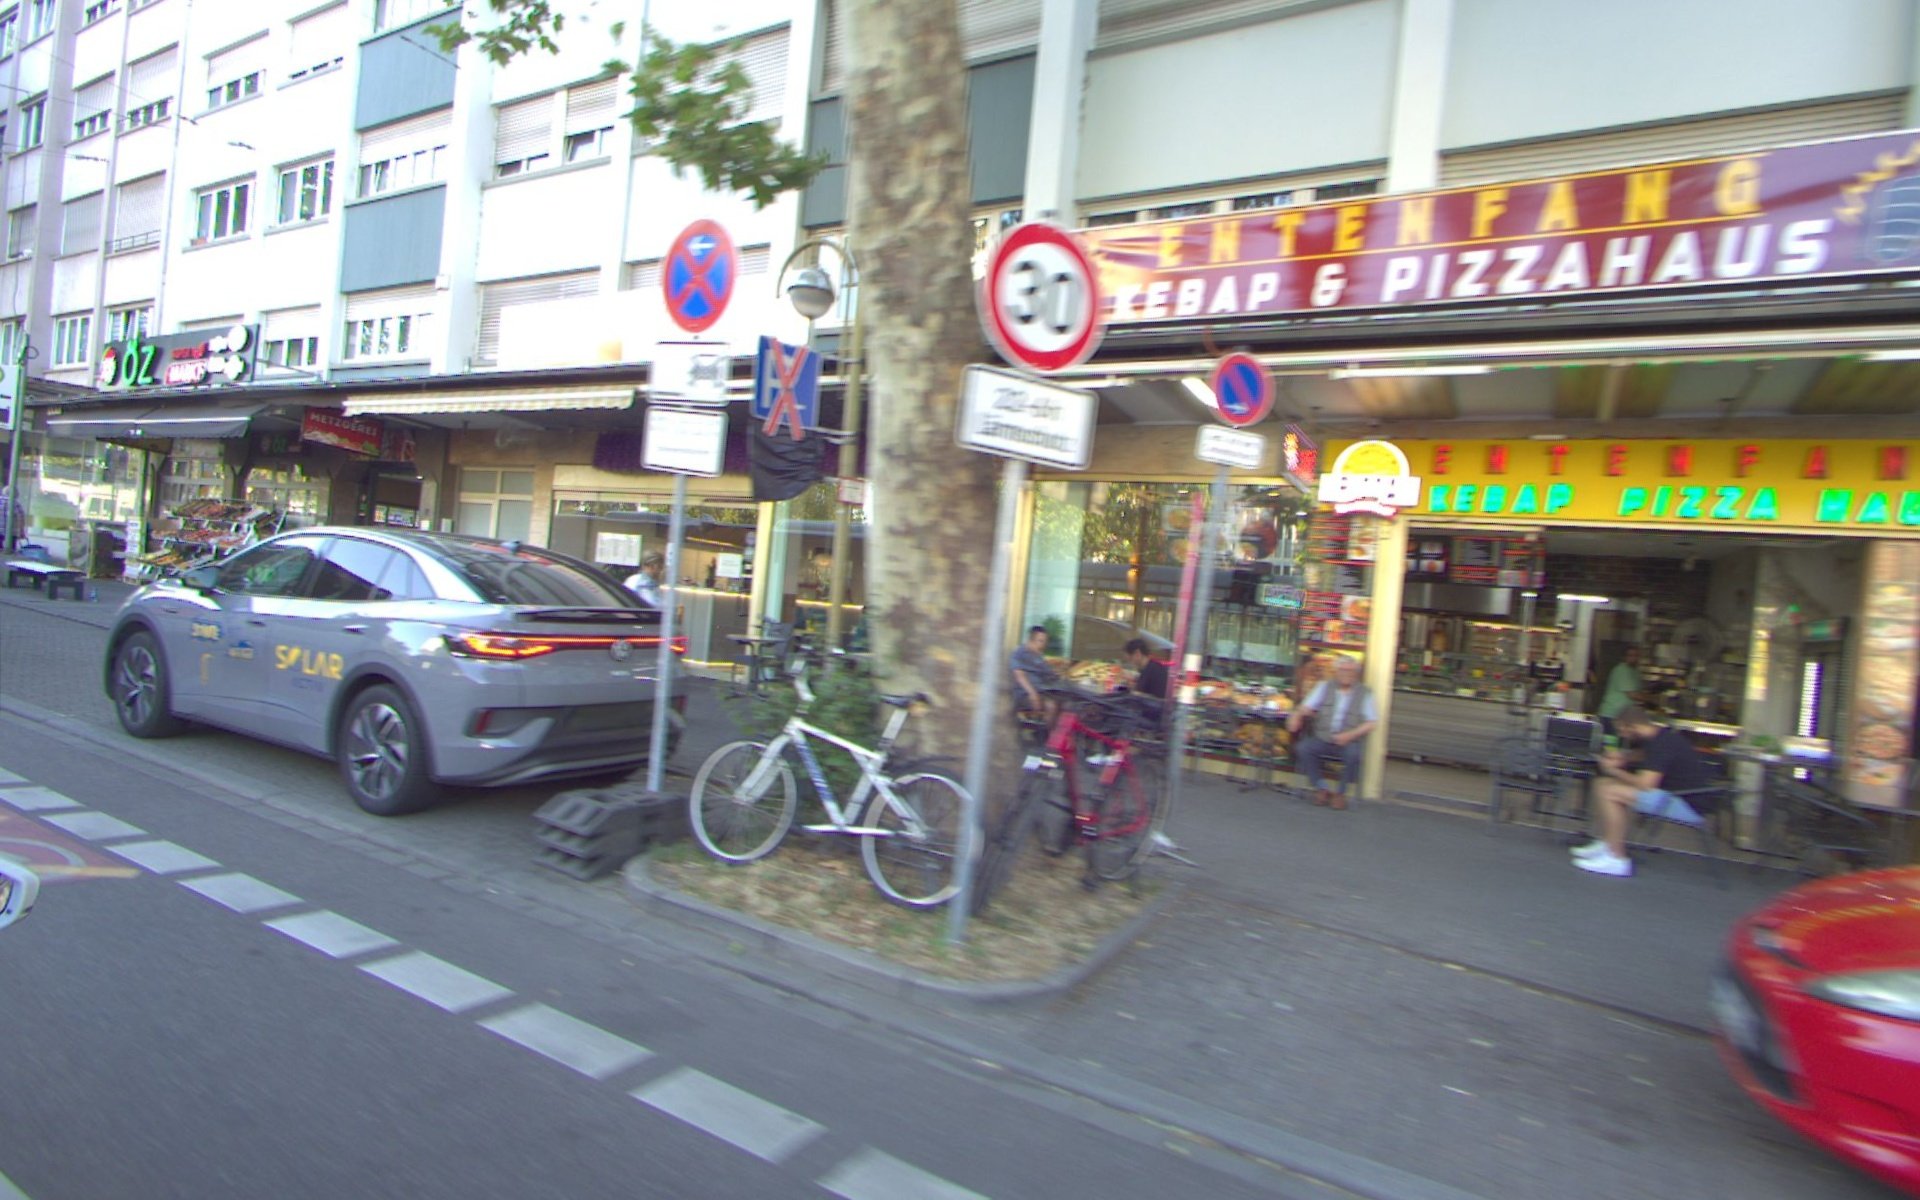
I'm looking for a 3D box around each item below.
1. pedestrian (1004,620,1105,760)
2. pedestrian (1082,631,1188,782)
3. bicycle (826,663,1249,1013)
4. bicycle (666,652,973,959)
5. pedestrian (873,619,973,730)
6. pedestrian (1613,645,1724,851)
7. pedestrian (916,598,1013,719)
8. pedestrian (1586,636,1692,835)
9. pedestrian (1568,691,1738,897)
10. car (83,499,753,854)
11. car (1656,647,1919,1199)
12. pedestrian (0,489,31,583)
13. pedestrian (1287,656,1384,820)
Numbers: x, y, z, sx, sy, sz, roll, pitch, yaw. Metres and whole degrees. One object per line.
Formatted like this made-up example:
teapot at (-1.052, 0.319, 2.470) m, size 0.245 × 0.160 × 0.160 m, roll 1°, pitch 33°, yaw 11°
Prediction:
pedestrian at (0.928, 0.869, 9.887) m, size 0.680 × 1.261 × 0.557 m, roll 7°, pitch 2°, yaw 39°
pedestrian at (1.611, 0.952, 9.250) m, size 0.680 × 1.261 × 0.558 m, roll 7°, pitch 2°, yaw 34°
bicycle at (0.497, 0.961, 4.794) m, size 2.376 × 1.171 × 0.547 m, roll 0°, pitch 4°, yaw -45°
bicycle at (-0.723, 0.921, 4.949) m, size 1.422 × 1.169 × 0.552 m, roll 6°, pitch 0°, yaw 37°
pedestrian at (-0.419, 0.809, 11.115) m, size 0.940 × 1.094 × 0.639 m, roll 6°, pitch 0°, yaw -8°
pedestrian at (5.865, 1.198, 8.351) m, size 0.589 × 1.566 × 0.700 m, roll 6°, pitch 0°, yaw 35°
pedestrian at (0.041, 0.700, 12.415) m, size 0.958 × 1.350 × 0.831 m, roll 6°, pitch 0°, yaw -8°
pedestrian at (5.782, 1.129, 8.581) m, size 0.589 × 1.560 × 0.700 m, roll 6°, pitch 0°, yaw 35°
pedestrian at (4.820, 1.316, 7.059) m, size 0.798 × 1.225 × 0.654 m, roll 6°, pitch 2°, yaw 29°
car at (-3.827, 0.320, 7.006) m, size 4.292 × 1.603 × 1.996 m, roll 6°, pitch 2°, yaw 28°
car at (4.311, 1.161, 2.647) m, size 3.758 × 1.617 × 1.782 m, roll 6°, pitch 3°, yaw 29°
pedestrian at (-17.770, -1.197, 18.697) m, size 0.660 × 1.688 × 0.593 m, roll 3°, pitch 2°, yaw -41°
pedestrian at (3.175, 1.131, 8.481) m, size 0.550 × 1.252 × 0.689 m, roll 6°, pitch 2°, yaw 29°
